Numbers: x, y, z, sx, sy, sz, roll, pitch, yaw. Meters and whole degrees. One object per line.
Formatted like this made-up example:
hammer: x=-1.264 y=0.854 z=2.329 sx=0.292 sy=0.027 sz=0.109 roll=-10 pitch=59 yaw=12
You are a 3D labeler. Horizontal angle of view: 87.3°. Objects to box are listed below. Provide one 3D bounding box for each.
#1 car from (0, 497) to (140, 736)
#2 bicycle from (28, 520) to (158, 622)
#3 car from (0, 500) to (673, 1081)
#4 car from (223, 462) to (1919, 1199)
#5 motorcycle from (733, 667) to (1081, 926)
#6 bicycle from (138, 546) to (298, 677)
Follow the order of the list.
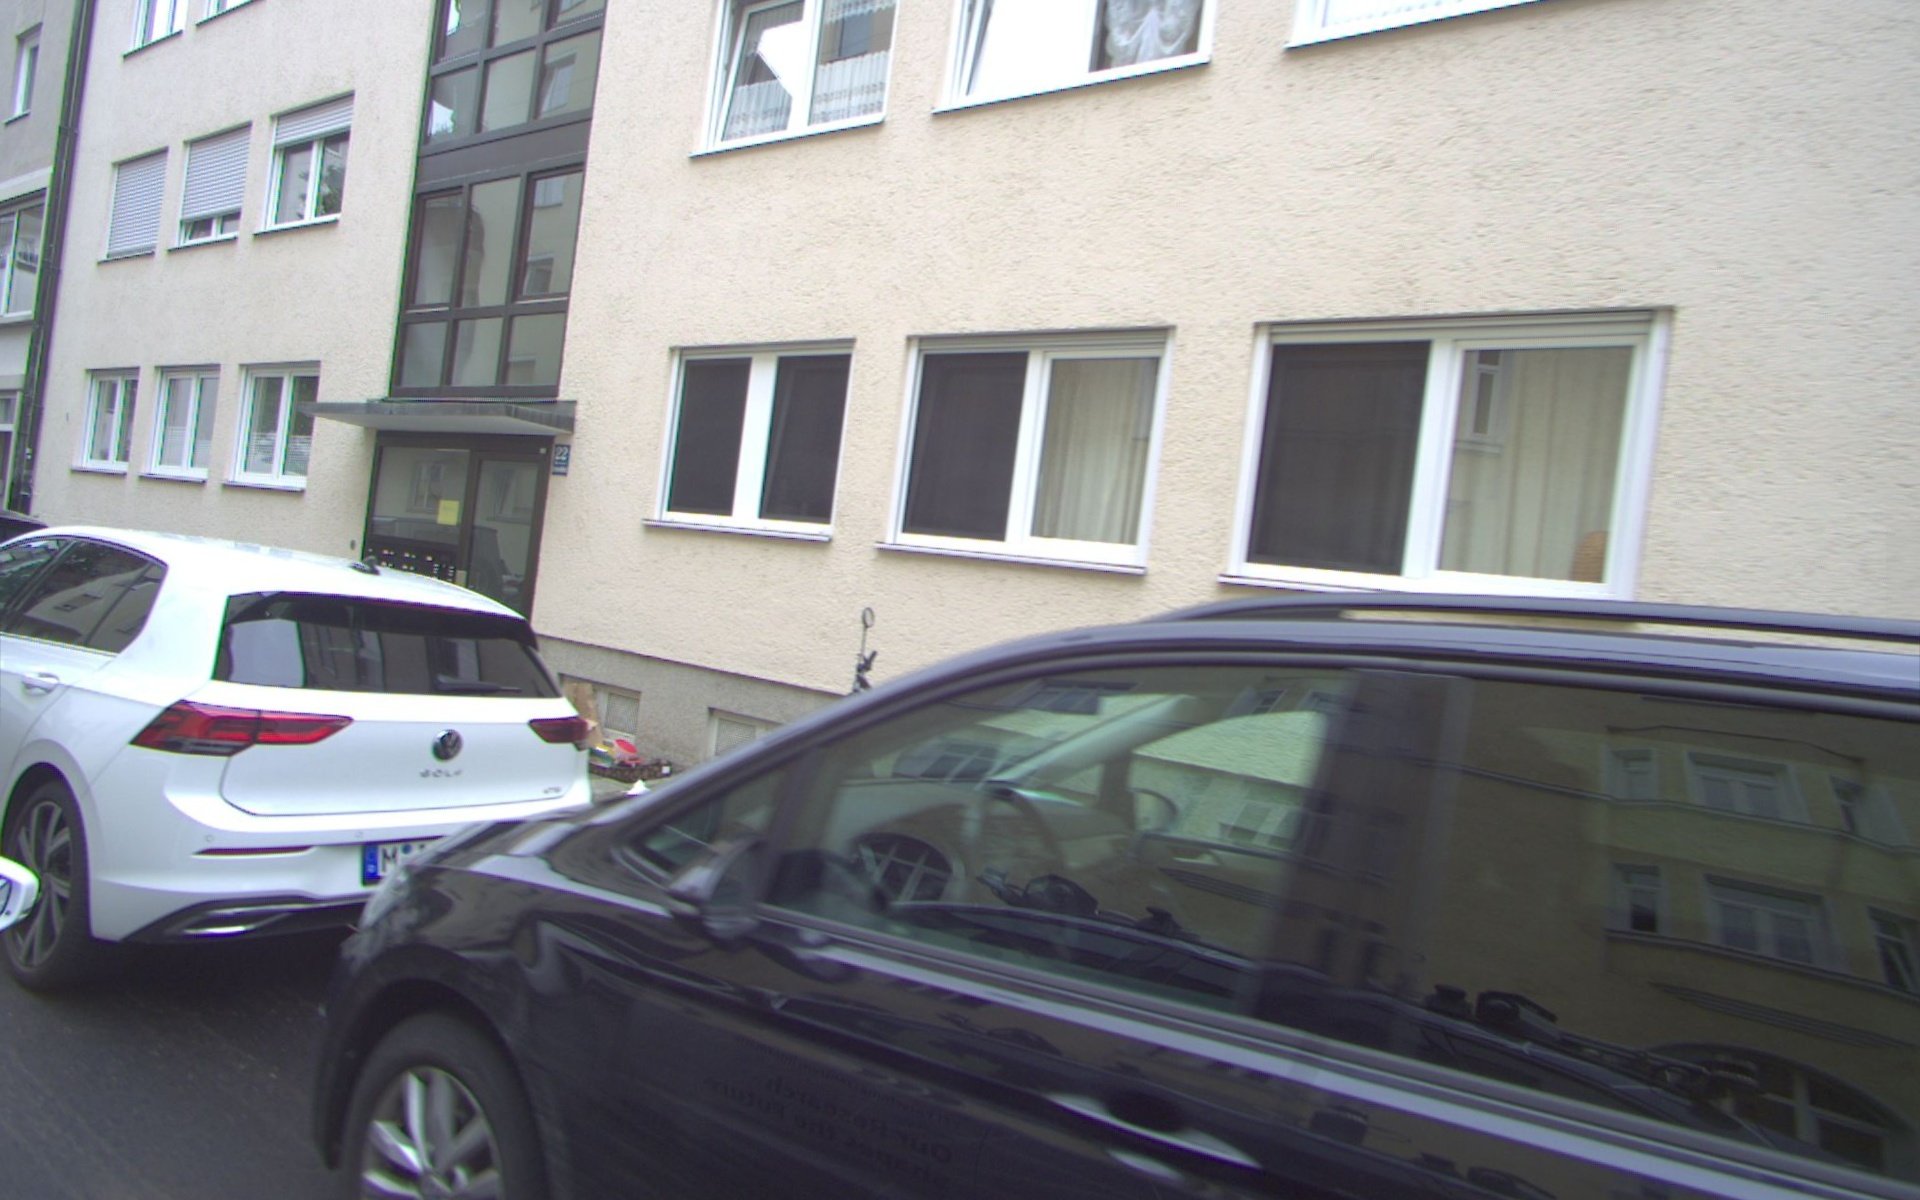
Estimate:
car: x=-7.952 y=-0.113 z=7.197 sx=4.172 sy=1.503 sz=1.716 roll=6 pitch=-2 yaw=30
bicycle: x=-10.343 y=-0.352 z=11.986 sx=1.767 sy=1.043 sz=0.644 roll=7 pitch=3 yaw=31
car: x=-3.505 y=0.431 z=4.491 sx=4.172 sy=1.503 sz=1.716 roll=6 pitch=-2 yaw=30
car: x=0.618 y=0.771 z=1.918 sx=4.174 sy=1.626 sz=1.715 roll=6 pitch=-2 yaw=32
motorcycle: x=-0.342 y=0.985 z=5.488 sx=1.879 sy=0.981 sz=0.481 roll=7 pitch=3 yaw=31
bicycle: x=-7.494 y=0.092 z=10.140 sx=1.731 sy=1.121 sz=0.654 roll=7 pitch=3 yaw=31
